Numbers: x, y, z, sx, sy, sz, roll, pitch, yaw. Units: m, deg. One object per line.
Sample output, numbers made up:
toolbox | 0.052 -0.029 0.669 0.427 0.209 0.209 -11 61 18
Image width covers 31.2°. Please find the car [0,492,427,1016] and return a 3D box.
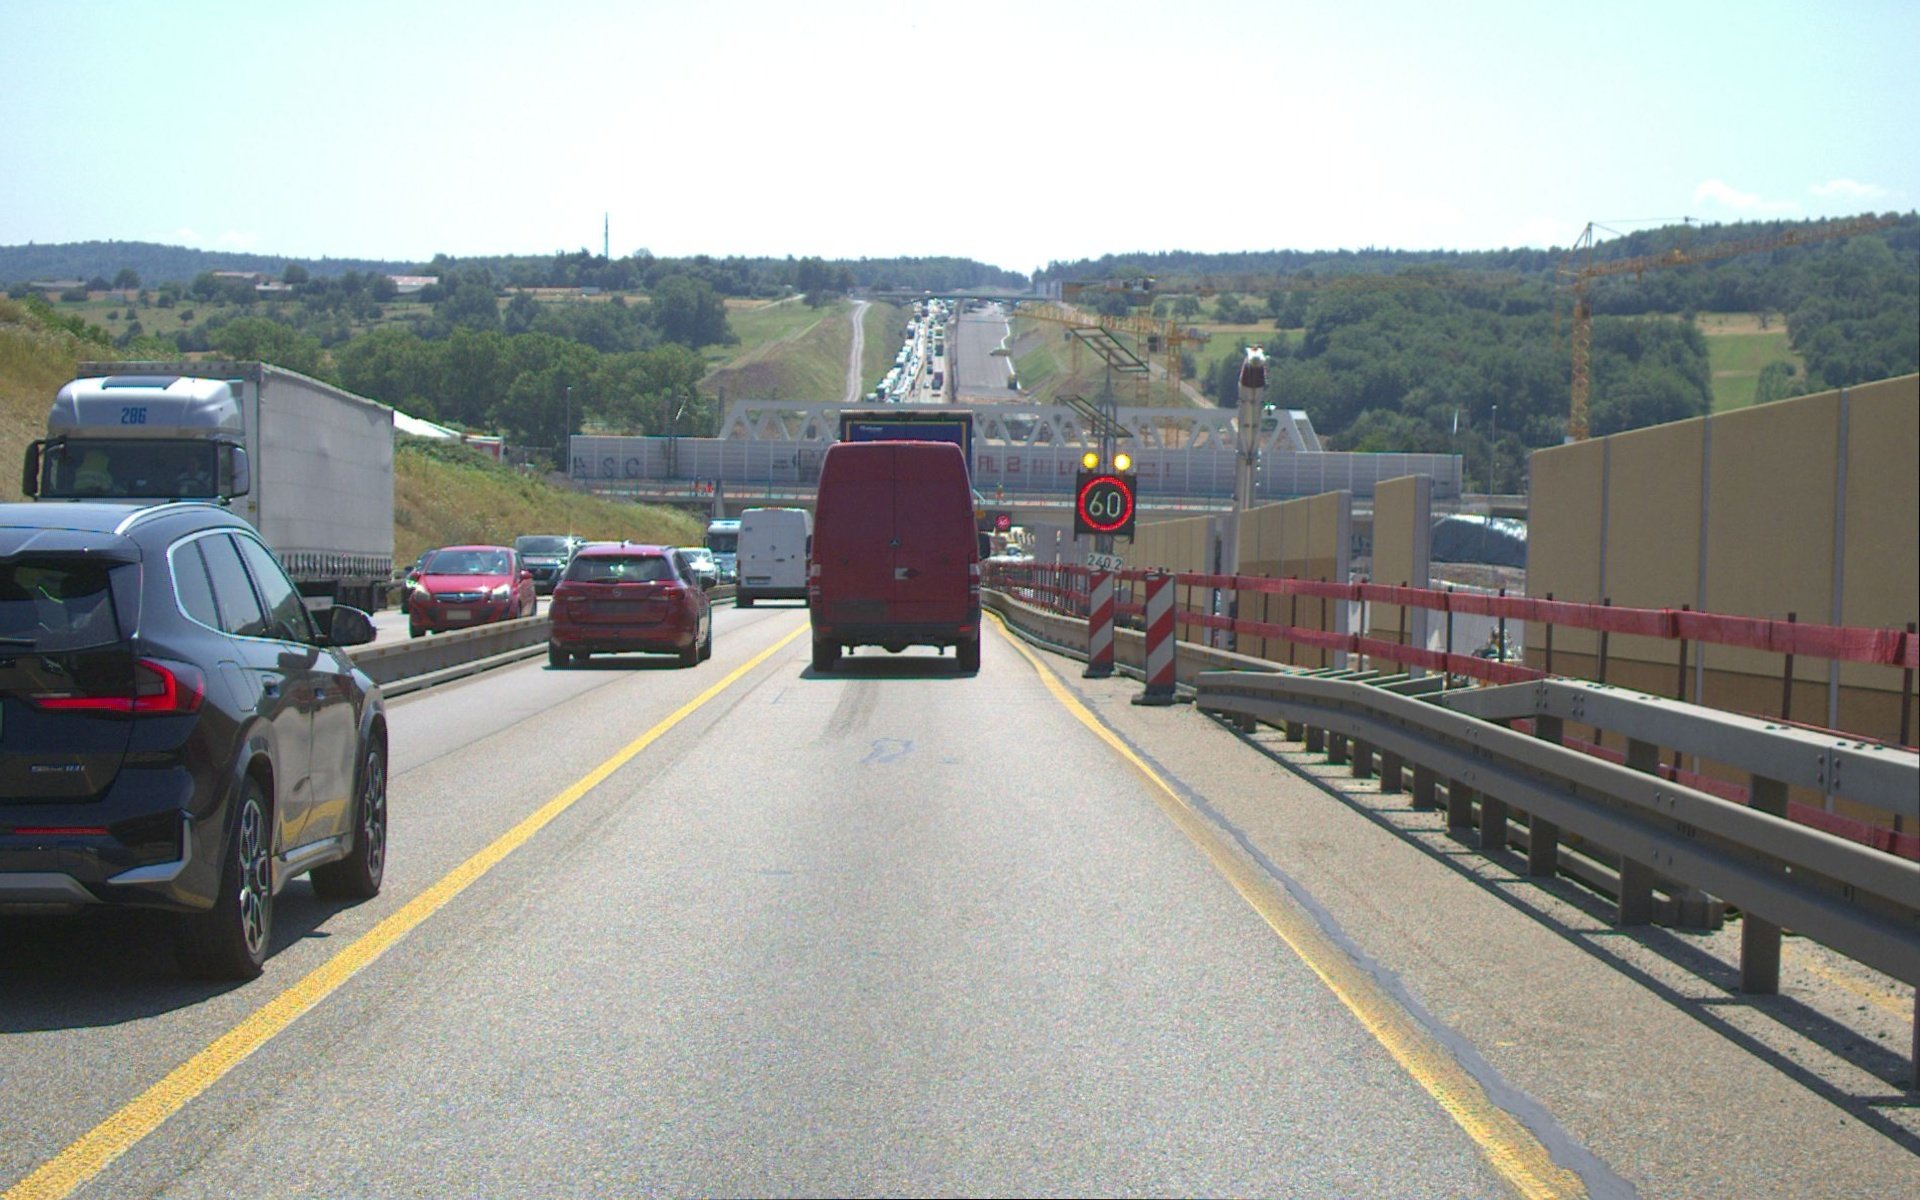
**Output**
car | -3.249 0.445 12.839 1.879 1.612 4.499 0 1 -1

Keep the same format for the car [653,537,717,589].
car | -9.090 -1.243 113.999 1.839 1.648 5.372 0 1 -1

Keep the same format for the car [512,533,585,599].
car | -12.364 -1.033 103.578 1.798 1.919 4.108 -1 1 -2

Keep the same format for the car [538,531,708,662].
car | -4.077 -0.072 42.126 1.776 1.512 4.206 0 1 -2

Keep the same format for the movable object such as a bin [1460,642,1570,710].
movable object such as a bin | 22.991 3.124 142.876 3.163 2.437 7.895 2 0 0

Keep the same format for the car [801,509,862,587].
car | -3.918 -1.598 105.651 1.776 2.322 4.206 0 1 -1

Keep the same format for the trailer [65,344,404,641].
trailer | -11.331 -1.648 55.341 2.785 4.167 13.980 0 1 -1

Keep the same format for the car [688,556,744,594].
car | -9.736 -1.019 137.604 1.955 1.494 5.090 1 1 -1

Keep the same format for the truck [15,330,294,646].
truck | -11.175 -1.534 48.168 2.745 4.167 5.289 0 1 -1

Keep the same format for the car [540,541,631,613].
car | -8.869 -0.557 81.688 1.832 1.660 4.415 0 1 -2

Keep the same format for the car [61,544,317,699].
car | -7.371 0.165 33.211 1.665 1.389 3.905 0 1 -1

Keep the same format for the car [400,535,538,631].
car | -7.752 -0.301 54.537 1.669 1.461 4.000 0 1 -1

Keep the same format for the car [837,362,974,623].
car | -1.131 -2.154 71.470 2.621 5.015 10.397 0 1 -1

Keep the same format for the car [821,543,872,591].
car | -4.038 -1.188 122.827 1.776 1.664 4.029 0 1 -1

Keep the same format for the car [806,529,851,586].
car | -5.467 -1.784 142.949 1.776 2.322 4.206 0 1 -1

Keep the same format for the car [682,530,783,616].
car | -4.528 -0.561 68.820 1.839 1.648 4.165 0 1 -1

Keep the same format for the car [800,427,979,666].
car | -0.827 -0.634 40.864 1.988 2.681 4.624 0 1 -1

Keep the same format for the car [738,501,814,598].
car | -4.733 -1.296 88.797 1.776 2.433 4.206 0 1 -1
